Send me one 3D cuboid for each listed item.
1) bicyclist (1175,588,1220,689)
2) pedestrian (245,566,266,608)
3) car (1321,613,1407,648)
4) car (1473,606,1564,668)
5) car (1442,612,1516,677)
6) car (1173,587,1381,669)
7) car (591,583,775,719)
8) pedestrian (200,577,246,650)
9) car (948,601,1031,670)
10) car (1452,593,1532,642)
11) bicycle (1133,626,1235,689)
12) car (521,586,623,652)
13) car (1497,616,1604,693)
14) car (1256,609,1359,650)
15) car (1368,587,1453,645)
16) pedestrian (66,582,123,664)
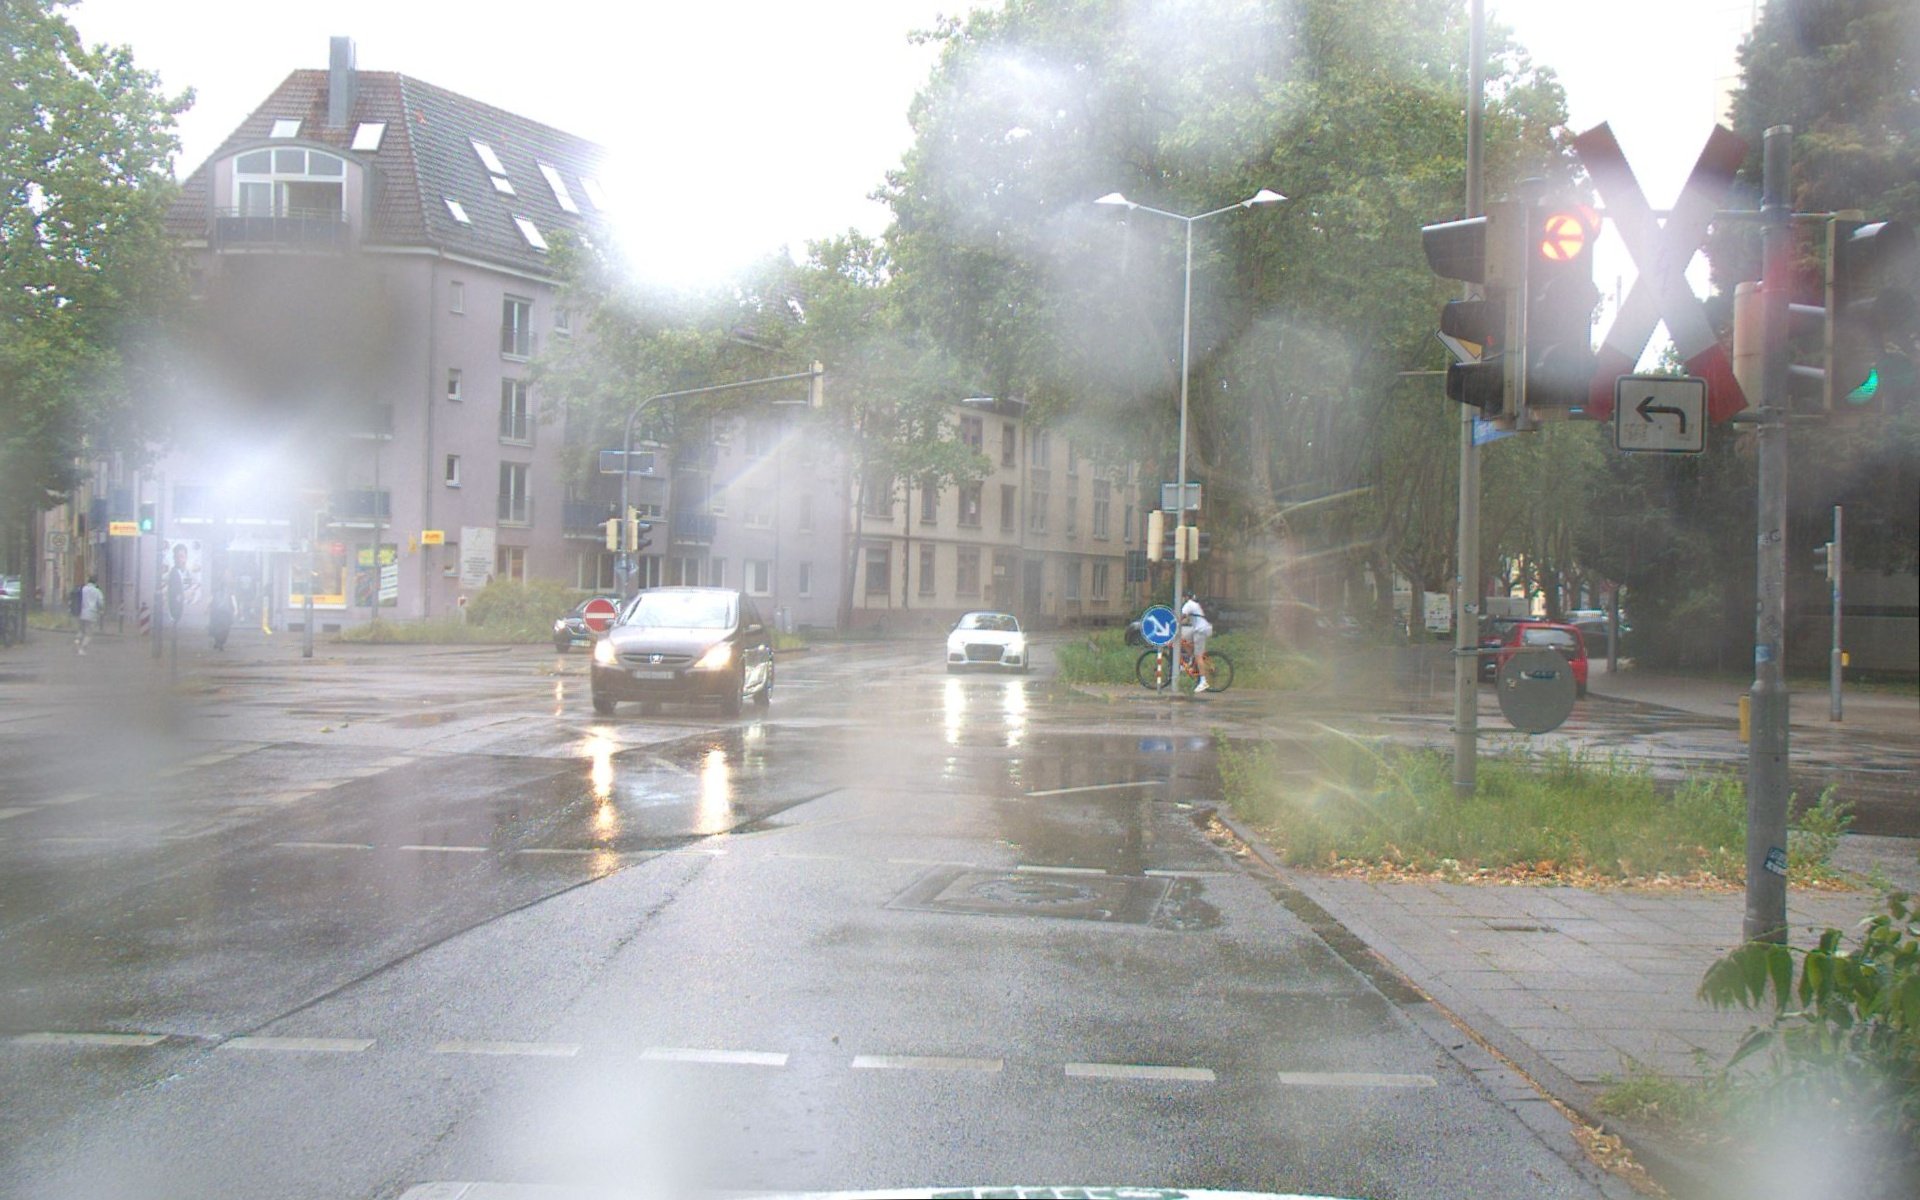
[{"bbox_3d":[4.353,0.695,30.407,0.778,1.817,0.697,1,-1,7],"label":"bicyclist"},{"bbox_3d":[-22.952,-0.406,53.890,0.550,1.353,0.443,1,-1,-16],"label":"pedestrian"},{"bbox_3d":[19.252,1.442,78.914,3.902,1.574,2.002,1,0,12],"label":"car"},{"bbox_3d":[13.888,0.877,41.294,1.745,1.371,3.932,2,1,13],"label":"car"},{"bbox_3d":[14.980,1.254,47.897,1.745,1.757,4.003,1,0,13],"label":"car"},{"bbox_3d":[6.277,0.535,32.780,3.902,1.512,2.002,1,0,12],"label":"car"},{"bbox_3d":[-3.277,0.577,20.215,1.679,1.485,3.747,1,0,-1],"label":"car"},{"bbox_3d":[-16.172,0.292,36.312,0.736,1.560,0.789,1,-1,-12],"label":"pedestrian"},{"bbox_3d":[0.706,0.796,39.166,1.845,1.461,4.001,1,0,1],"label":"car"},{"bbox_3d":[33.660,1.086,104.801,1.974,2.999,4.720,1,0,-31],"label":"car"},{"bbox_3d":[4.111,1.050,30.432,1.833,1.100,0.657,1,0,7],"label":"bicycle"},{"bbox_3d":[-9.635,0.445,41.332,1.716,1.538,3.838,1,0,-2],"label":"car"},{"bbox_3d":[13.042,1.162,36.724,1.754,1.524,4.003,1,0,13],"label":"car"},{"bbox_3d":[13.770,1.165,65.626,3.902,1.512,2.002,1,0,12],"label":"car"},{"bbox_3d":[23.945,0.848,88.057,2.005,2.999,4.742,1,0,-21],"label":"car"},{"bbox_3d":[-17.586,0.457,33.620,0.660,1.628,0.967,1,0,-5],"label":"pedestrian"}]
